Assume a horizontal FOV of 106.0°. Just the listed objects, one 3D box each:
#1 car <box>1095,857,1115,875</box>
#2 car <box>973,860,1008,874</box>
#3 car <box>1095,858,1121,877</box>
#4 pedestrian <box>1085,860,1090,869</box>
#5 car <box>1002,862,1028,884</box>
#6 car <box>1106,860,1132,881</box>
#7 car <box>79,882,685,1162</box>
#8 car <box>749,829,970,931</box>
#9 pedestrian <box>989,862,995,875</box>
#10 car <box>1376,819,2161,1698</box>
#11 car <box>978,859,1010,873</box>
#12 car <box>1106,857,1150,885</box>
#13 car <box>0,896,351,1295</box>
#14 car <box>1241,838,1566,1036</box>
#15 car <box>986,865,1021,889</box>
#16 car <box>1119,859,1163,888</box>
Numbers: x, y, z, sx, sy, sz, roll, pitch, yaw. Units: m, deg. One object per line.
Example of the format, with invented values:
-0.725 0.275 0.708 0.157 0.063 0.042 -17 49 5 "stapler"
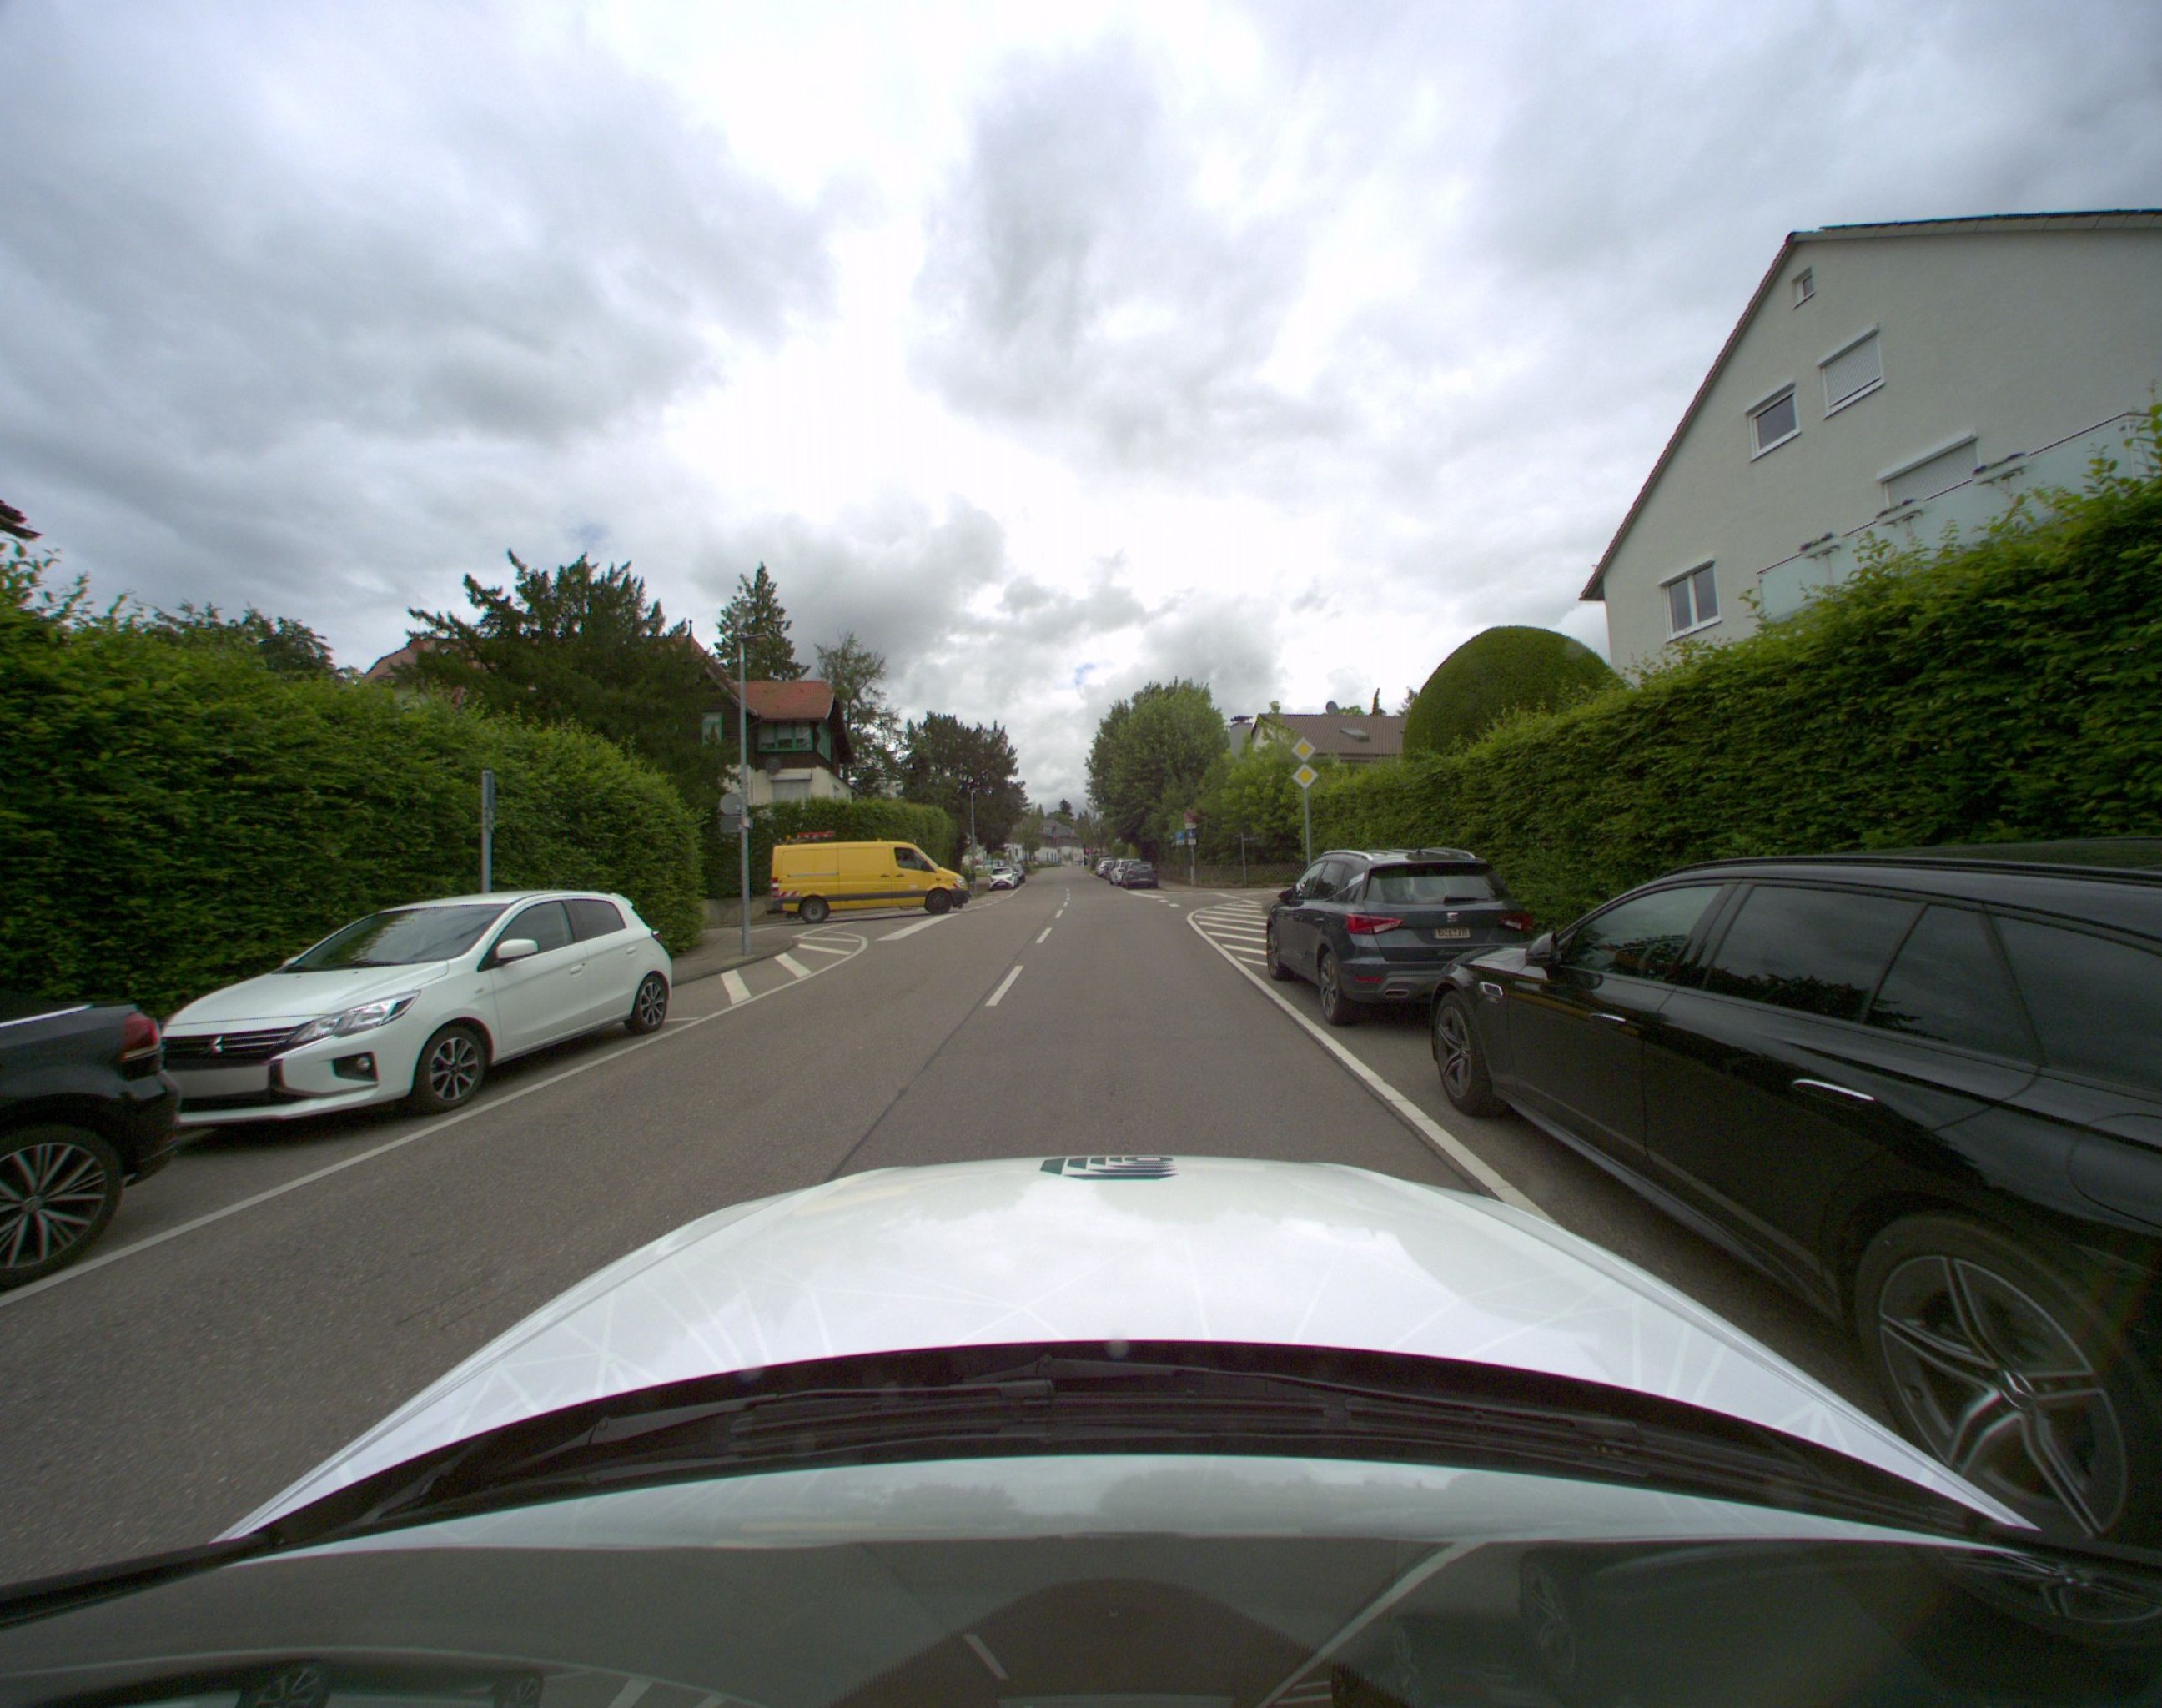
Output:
2.260 1.094 77.649 1.712 1.632 3.926 -1 0 -1 "car"
-11.648 1.653 105.136 4.377 1.566 2.064 -3 0 -3 "car"
2.360 1.166 71.785 1.988 1.491 5.002 -3 0 -1 "car"
1.181 1.948 156.723 0.677 1.682 0.704 -3 -1 29 "pedestrian"
-5.131 1.459 63.917 1.846 1.469 4.678 -3 0 -3 "car"
2.798 1.195 61.021 1.693 1.508 4.157 -1 0 -1 "car"
-5.081 1.073 6.684 1.683 1.419 3.581 -5 0 2 "car"
-6.740 0.718 25.104 6.141 2.601 2.353 -3 0 -18 "car"
-11.060 1.807 100.884 0.591 1.640 0.565 -3 -1 -1 "pedestrian"
2.945 0.672 3.267 1.915 1.494 5.214 -3 0 4 "car"
-11.474 1.600 107.786 3.975 1.653 2.008 -2 0 -1 "car"
2.906 1.033 51.380 1.998 1.608 4.748 -3 0 -6 "car"
-5.169 1.051 2.263 1.775 1.489 4.740 -6 -1 2 "car"
3.003 0.659 8.700 1.783 1.488 4.380 -3 0 2 "car"
-4.878 1.441 51.766 1.738 1.448 3.515 -2 -1 2 "car"
3.348 1.074 46.453 1.933 1.491 4.452 -3 0 -3 "car"
